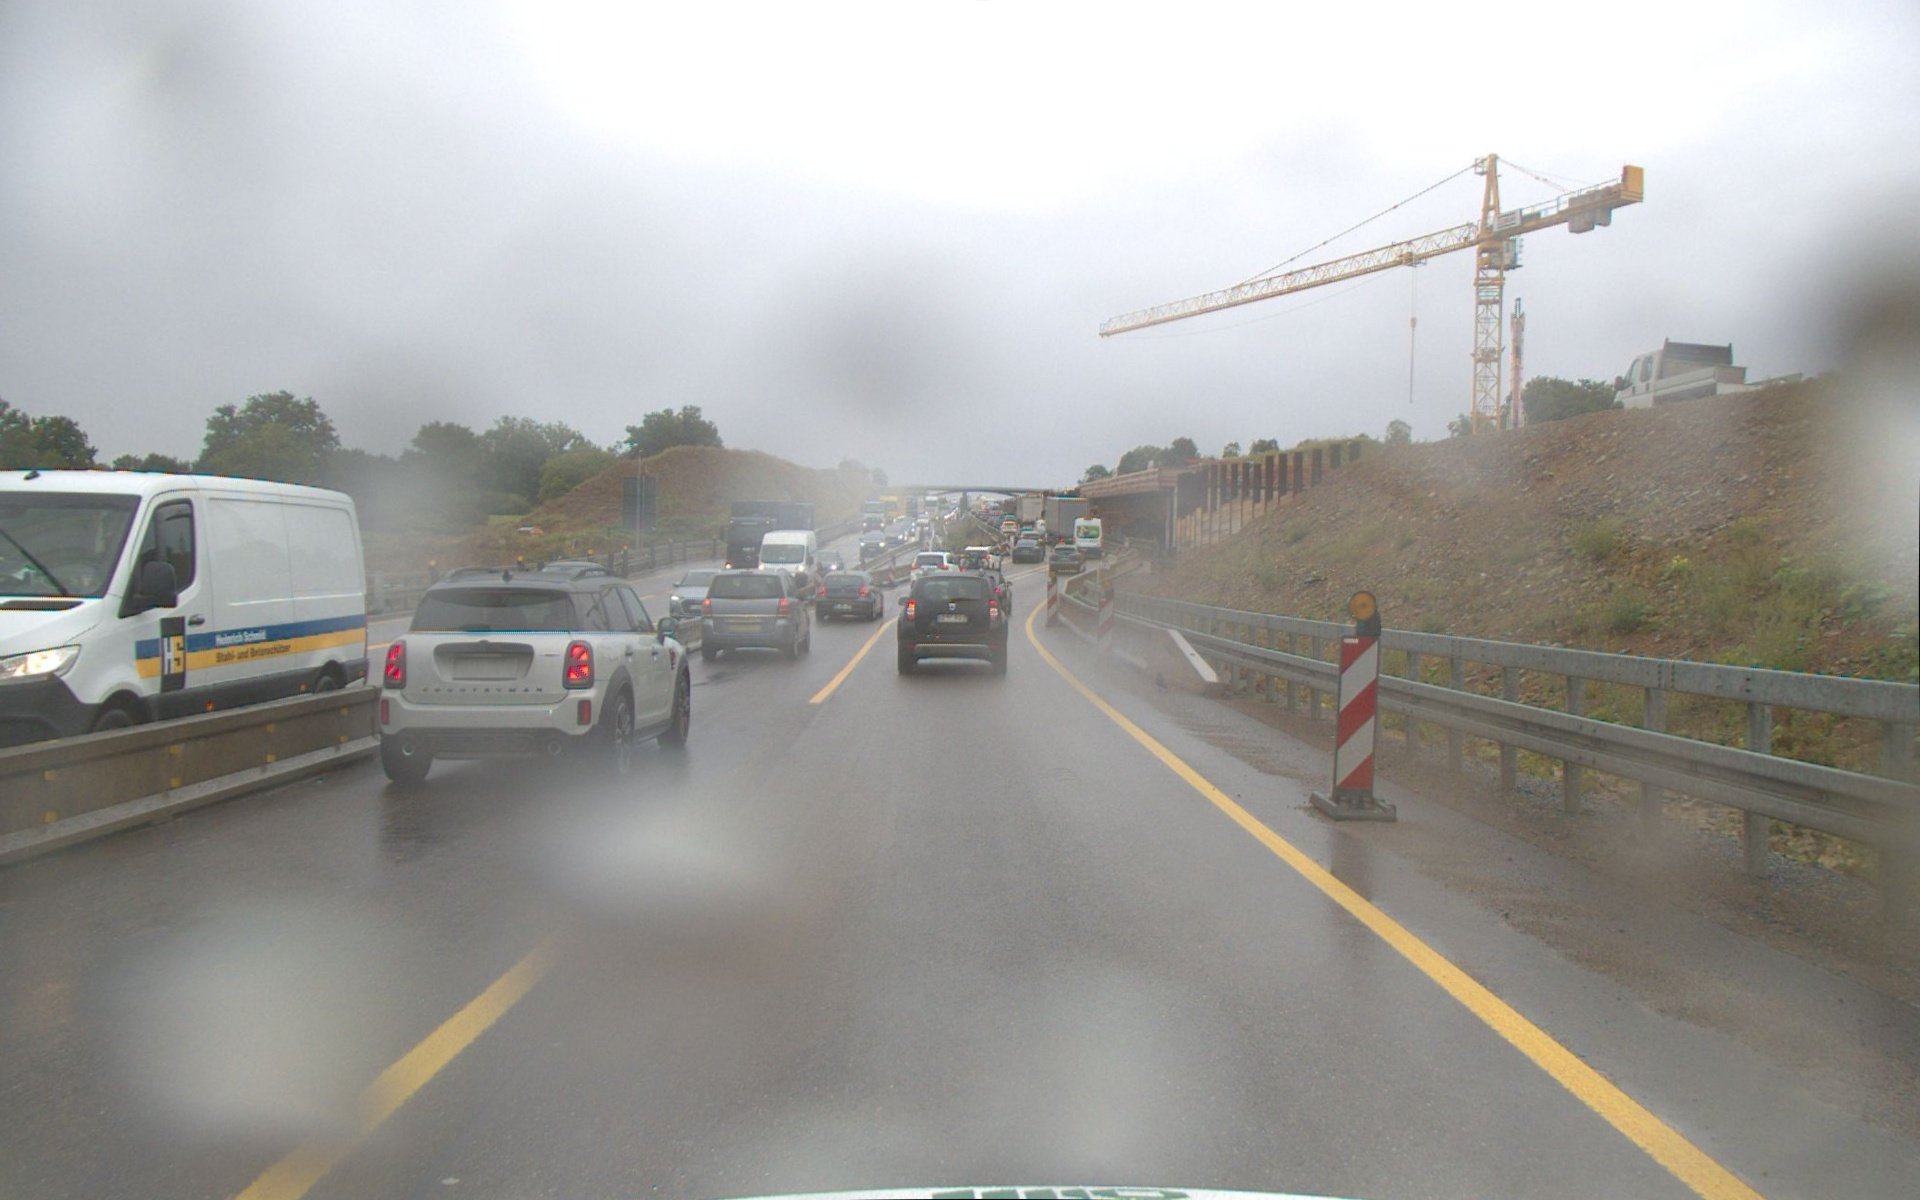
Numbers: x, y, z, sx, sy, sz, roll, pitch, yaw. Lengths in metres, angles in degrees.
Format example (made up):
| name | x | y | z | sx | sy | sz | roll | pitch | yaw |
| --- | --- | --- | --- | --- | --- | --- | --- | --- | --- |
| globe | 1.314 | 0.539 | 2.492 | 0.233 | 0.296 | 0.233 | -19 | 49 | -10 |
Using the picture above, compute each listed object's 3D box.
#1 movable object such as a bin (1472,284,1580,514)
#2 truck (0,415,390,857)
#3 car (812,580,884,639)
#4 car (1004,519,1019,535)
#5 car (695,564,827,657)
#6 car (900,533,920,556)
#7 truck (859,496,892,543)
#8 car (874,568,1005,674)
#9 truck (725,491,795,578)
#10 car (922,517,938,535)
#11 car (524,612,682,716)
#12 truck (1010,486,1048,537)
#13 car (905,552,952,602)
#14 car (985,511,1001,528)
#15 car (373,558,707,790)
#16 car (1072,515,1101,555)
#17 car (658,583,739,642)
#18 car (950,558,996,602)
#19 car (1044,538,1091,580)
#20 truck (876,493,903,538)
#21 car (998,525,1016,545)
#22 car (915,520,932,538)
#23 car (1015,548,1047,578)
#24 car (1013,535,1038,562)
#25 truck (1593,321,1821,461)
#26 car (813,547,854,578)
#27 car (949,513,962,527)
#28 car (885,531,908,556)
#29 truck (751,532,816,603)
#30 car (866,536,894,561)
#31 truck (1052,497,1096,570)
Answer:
| name | x | y | z | sx | sy | sz | roll | pitch | yaw |
| --- | --- | --- | --- | --- | --- | --- | --- | --- | --- |
| movable object such as a bin | 30.559 | -10.534 | 89.845 | 4.618 | 11.032 | 10.311 | 0 | -1 | 14 |
| truck | -6.425 | 0.237 | 12.775 | 2.036 | 2.621 | 5.960 | 0 | -1 | -1 |
| car | -3.229 | 0.284 | 48.491 | 1.953 | 1.628 | 4.139 | 0 | -1 | -2 |
| car | 7.284 | -10.385 | 235.284 | 1.953 | 2.049 | 3.999 | 0 | -1 | -1 |
| car | -3.659 | 0.207 | 31.153 | 1.953 | 1.628 | 4.140 | 0 | -1 | 0 |
| car | -4.592 | -5.088 | 152.423 | 1.749 | 1.841 | 4.498 | 0 | -1 | 0 |
| truck | -9.321 | -8.829 | 182.704 | 3.019 | 5.005 | 8.565 | 1 | 1 | 0 |
| car | -0.309 | 0.352 | 27.873 | 2.038 | 1.628 | 4.140 | 0 | -1 | 0 |
| truck | -9.829 | -3.218 | 82.066 | 2.588 | 4.039 | 9.212 | 0 | 2 | -2 |
| car | -4.441 | -10.861 | 243.183 | 2.171 | 2.411 | 4.664 | 1 | 1 | 0 |
| car | -5.856 | 1.000 | 27.598 | 1.750 | 1.565 | 4.311 | 0 | 0 | -1 |
| truck | 8.138 | -10.451 | 197.074 | 3.726 | 5.131 | 12.917 | 0 | -1 | -1 |
| car | -1.368 | -0.980 | 71.041 | 1.953 | 2.049 | 3.893 | 0 | 1 | -1 |
| car | 4.431 | -10.717 | 220.766 | 1.953 | 2.049 | 4.000 | 0 | 1 | -1 |
| car | -3.299 | 0.527 | 13.860 | 1.779 | 1.628 | 4.306 | 0 | 0 | -2 |
| car | 8.821 | -4.487 | 115.163 | 1.951 | 2.528 | 4.984 | 0 | -1 | 5 |
| car | -7.239 | 0.300 | 46.121 | 1.642 | 1.550 | 4.344 | 0 | 1 | -1 |
| car | 0.711 | -1.038 | 86.914 | 1.951 | 2.201 | 4.143 | 0 | -1 | 7 |
| car | 6.029 | -2.252 | 92.217 | 1.951 | 2.201 | 4.143 | 0 | -1 | 13 |
| truck | -9.174 | -10.966 | 215.624 | 3.077 | 5.512 | 8.524 | 1 | 1 | 0 |
| car | 5.085 | -7.041 | 179.465 | 1.811 | 1.927 | 4.021 | 0 | -1 | 0 |
| car | -5.074 | -9.831 | 229.229 | 2.192 | 2.400 | 4.877 | 1 | 1 | 0 |
| car | 4.613 | -2.367 | 107.329 | 1.952 | 1.792 | 3.814 | 0 | -1 | 1 |
| car | 5.621 | -4.410 | 142.200 | 1.953 | 2.201 | 4.140 | 0 | -1 | 0 |
| truck | 18.898 | -5.217 | 42.369 | 2.592 | 2.599 | 6.982 | 0 | -1 | -1 |
| car | -6.385 | -1.912 | 84.046 | 1.831 | 1.497 | 4.670 | 0 | 1 | -2 |
| car | -0.700 | -12.423 | 257.050 | 1.953 | 2.049 | 3.999 | 0 | -1 | -1 |
| car | -5.294 | -4.700 | 137.638 | 1.749 | 1.841 | 4.498 | 0 | -1 | 0 |
| truck | -7.192 | -1.330 | 67.965 | 2.104 | 2.760 | 6.015 | 1 | 1 | -1 |
| car | -5.687 | -3.669 | 117.514 | 1.702 | 1.713 | 5.552 | 1 | 2 | 0 |
| truck | 9.489 | -5.417 | 136.848 | 3.035 | 5.521 | 9.449 | 0 | -1 | 7 |
